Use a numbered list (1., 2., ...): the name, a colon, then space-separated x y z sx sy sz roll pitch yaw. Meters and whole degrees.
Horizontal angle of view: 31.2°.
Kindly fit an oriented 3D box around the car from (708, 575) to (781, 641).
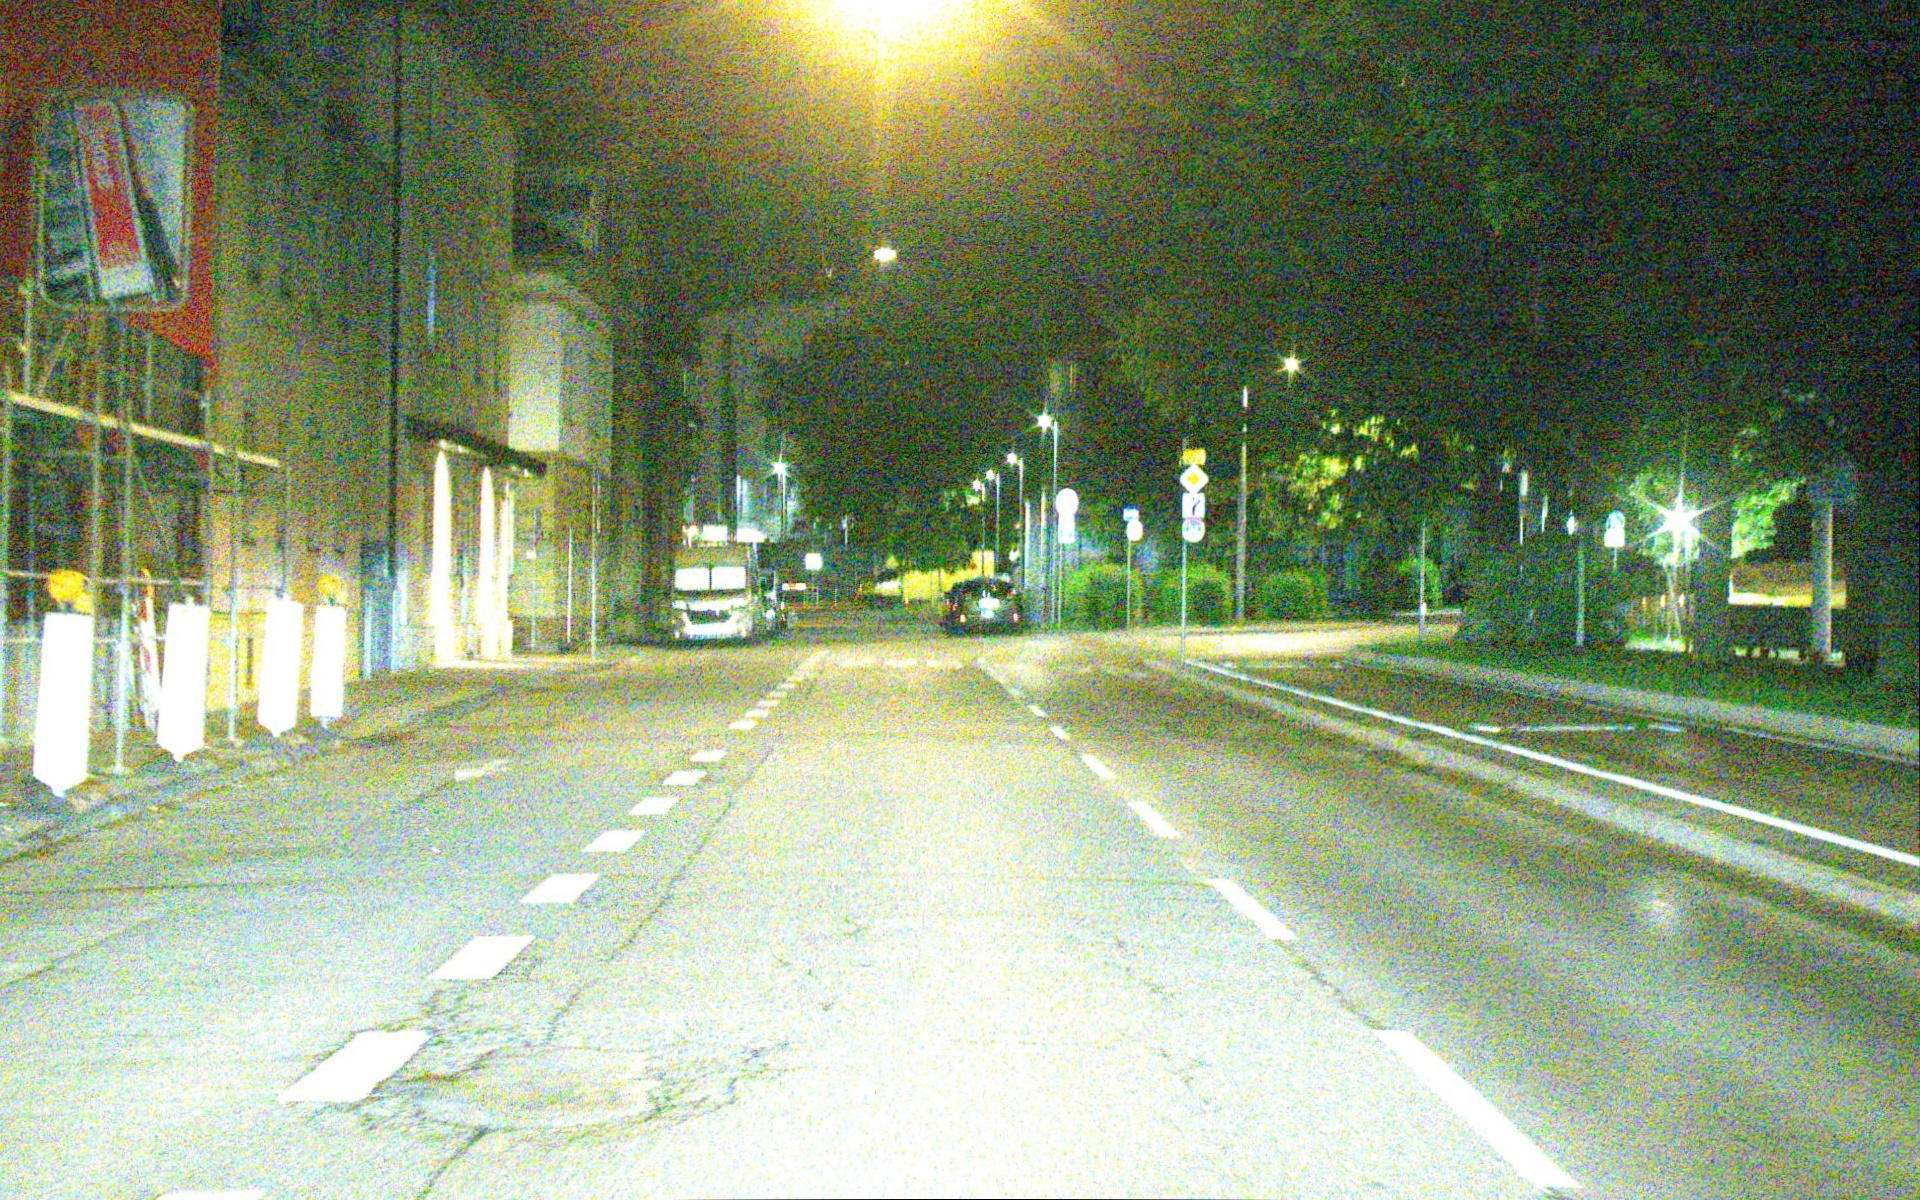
1. car: -6.504 0.235 104.021 1.993 1.948 4.806 0 0 -1

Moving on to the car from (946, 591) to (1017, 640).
1. car: 0.596 0.455 99.013 1.963 1.378 4.000 0 -1 -1

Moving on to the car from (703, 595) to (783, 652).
1. car: -5.971 0.621 94.032 1.838 1.502 4.743 -1 0 -8

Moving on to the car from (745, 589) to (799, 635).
1. car: -6.370 0.433 116.624 1.704 1.505 4.100 1 -1 -2

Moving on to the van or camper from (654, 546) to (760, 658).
1. van or camper: -6.059 0.058 83.051 2.158 2.527 6.227 -2 0 -1

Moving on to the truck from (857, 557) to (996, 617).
1. truck: -1.679 -0.644 171.100 6.775 2.835 2.000 1 0 -4

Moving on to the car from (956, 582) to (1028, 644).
1. car: 0.898 0.353 93.631 1.884 1.597 4.107 -1 0 1
